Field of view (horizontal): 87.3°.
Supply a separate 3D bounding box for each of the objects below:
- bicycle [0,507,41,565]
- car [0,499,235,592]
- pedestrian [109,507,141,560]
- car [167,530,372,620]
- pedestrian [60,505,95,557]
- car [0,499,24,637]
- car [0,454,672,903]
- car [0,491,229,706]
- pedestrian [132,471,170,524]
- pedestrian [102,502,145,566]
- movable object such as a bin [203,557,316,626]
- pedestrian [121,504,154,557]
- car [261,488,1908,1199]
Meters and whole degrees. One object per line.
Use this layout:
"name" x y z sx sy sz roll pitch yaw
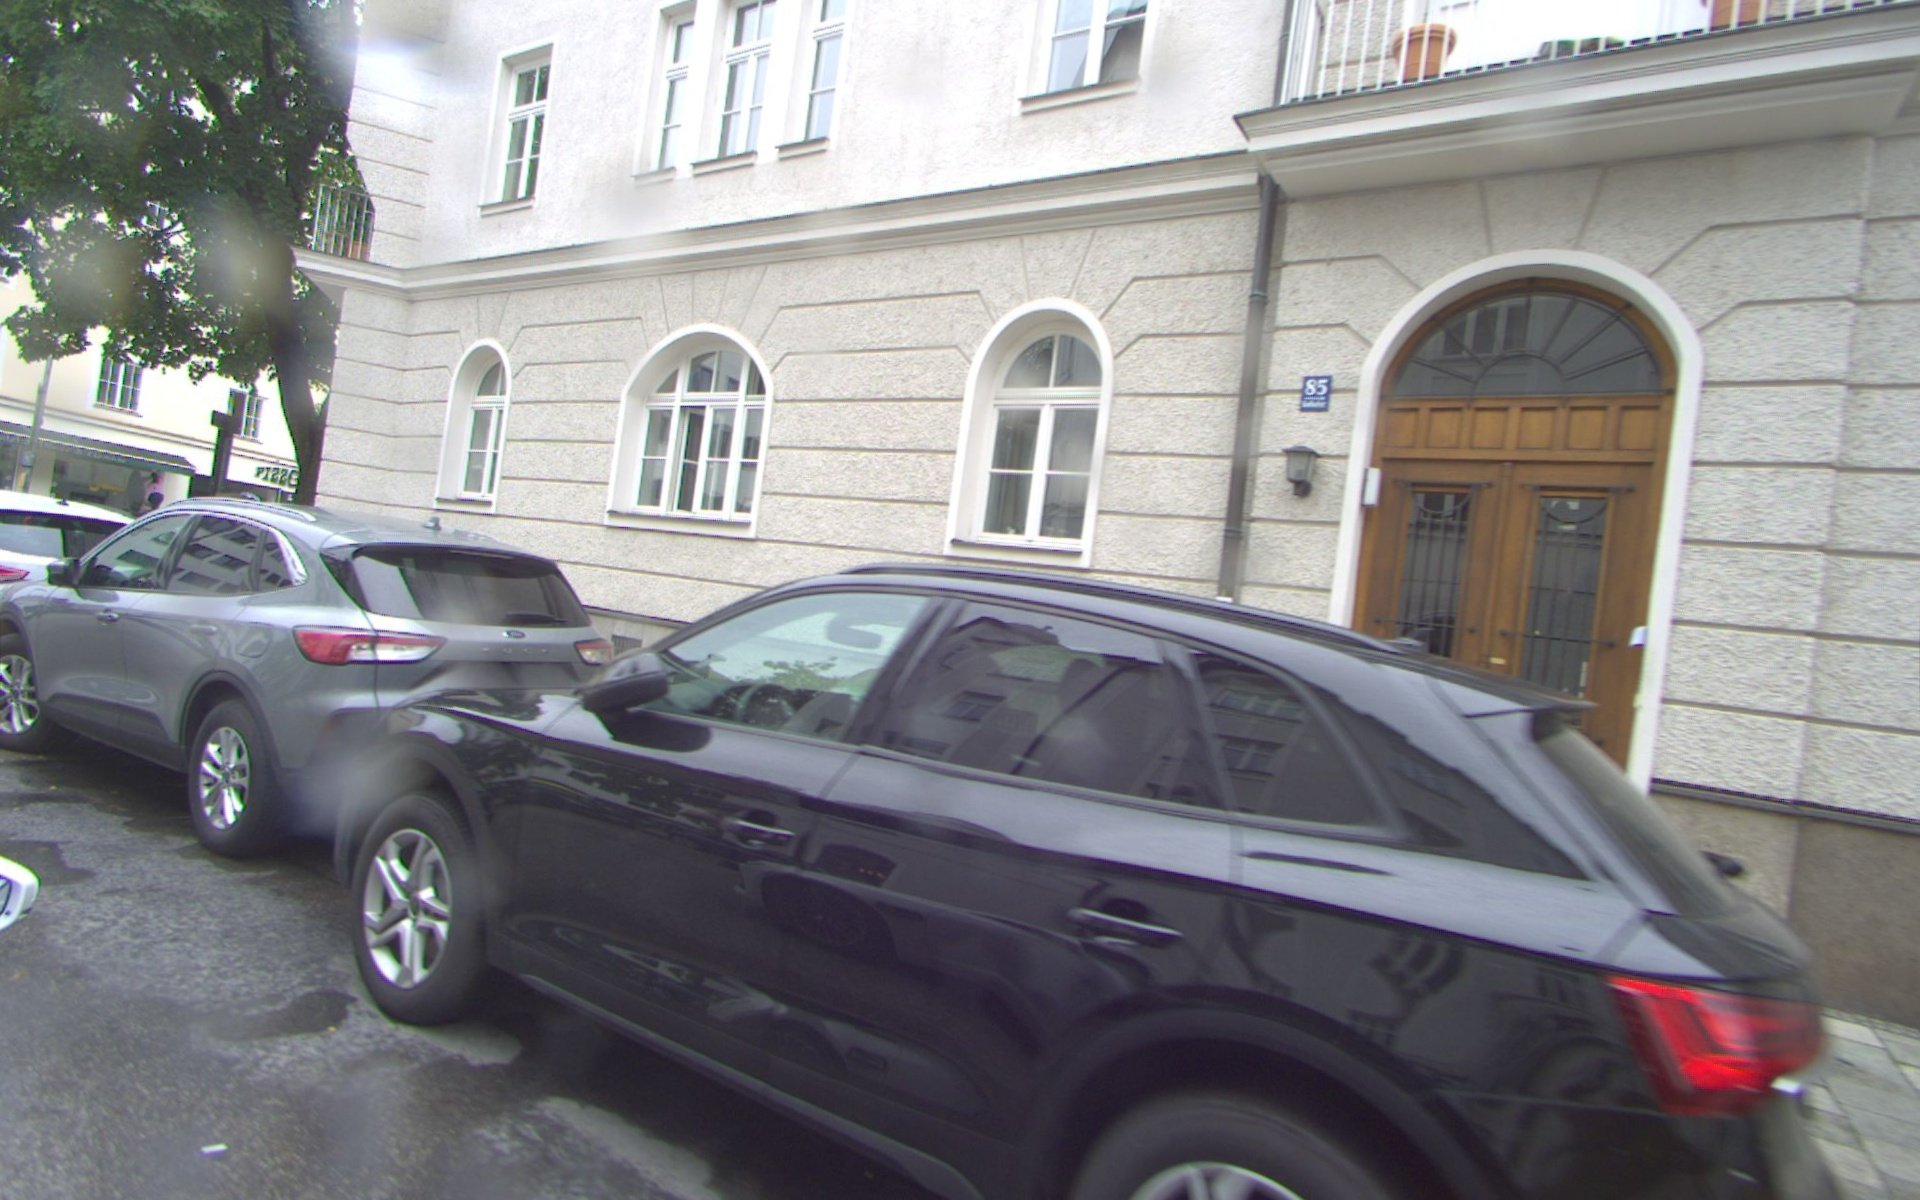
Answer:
"bicycle" -23.741 -1.674 24.142 1.086 1.267 2.091 8 -2 22
"car" -20.990 -1.288 25.071 1.787 1.609 4.354 6 -3 20
"pedestrian" -25.966 -2.064 31.297 0.553 1.555 0.430 9 0 -36
"car" -15.442 -0.504 22.679 1.598 1.504 3.333 8 -1 23
"pedestrian" -26.097 -2.038 29.749 0.507 1.450 0.579 8 -1 -28
"car" -12.299 -0.639 11.082 4.142 1.451 1.673 7 -2 30
"car" -4.042 0.235 6.002 4.351 1.733 1.793 7 -1 30
"car" -8.249 -0.160 8.450 3.841 1.513 1.755 7 -2 27
"pedestrian" -26.309 -3.330 32.712 0.567 1.592 0.554 7 -2 21
"pedestrian" -24.310 -1.917 29.229 0.533 1.722 0.604 9 0 22
"movable object such as a bin" -10.740 -0.122 15.431 1.198 0.854 0.902 7 -1 29
"pedestrian" -26.152 -2.213 31.991 0.525 1.569 0.435 7 0 3
"car" -0.176 0.733 3.250 4.304 1.654 1.781 7 -2 33
